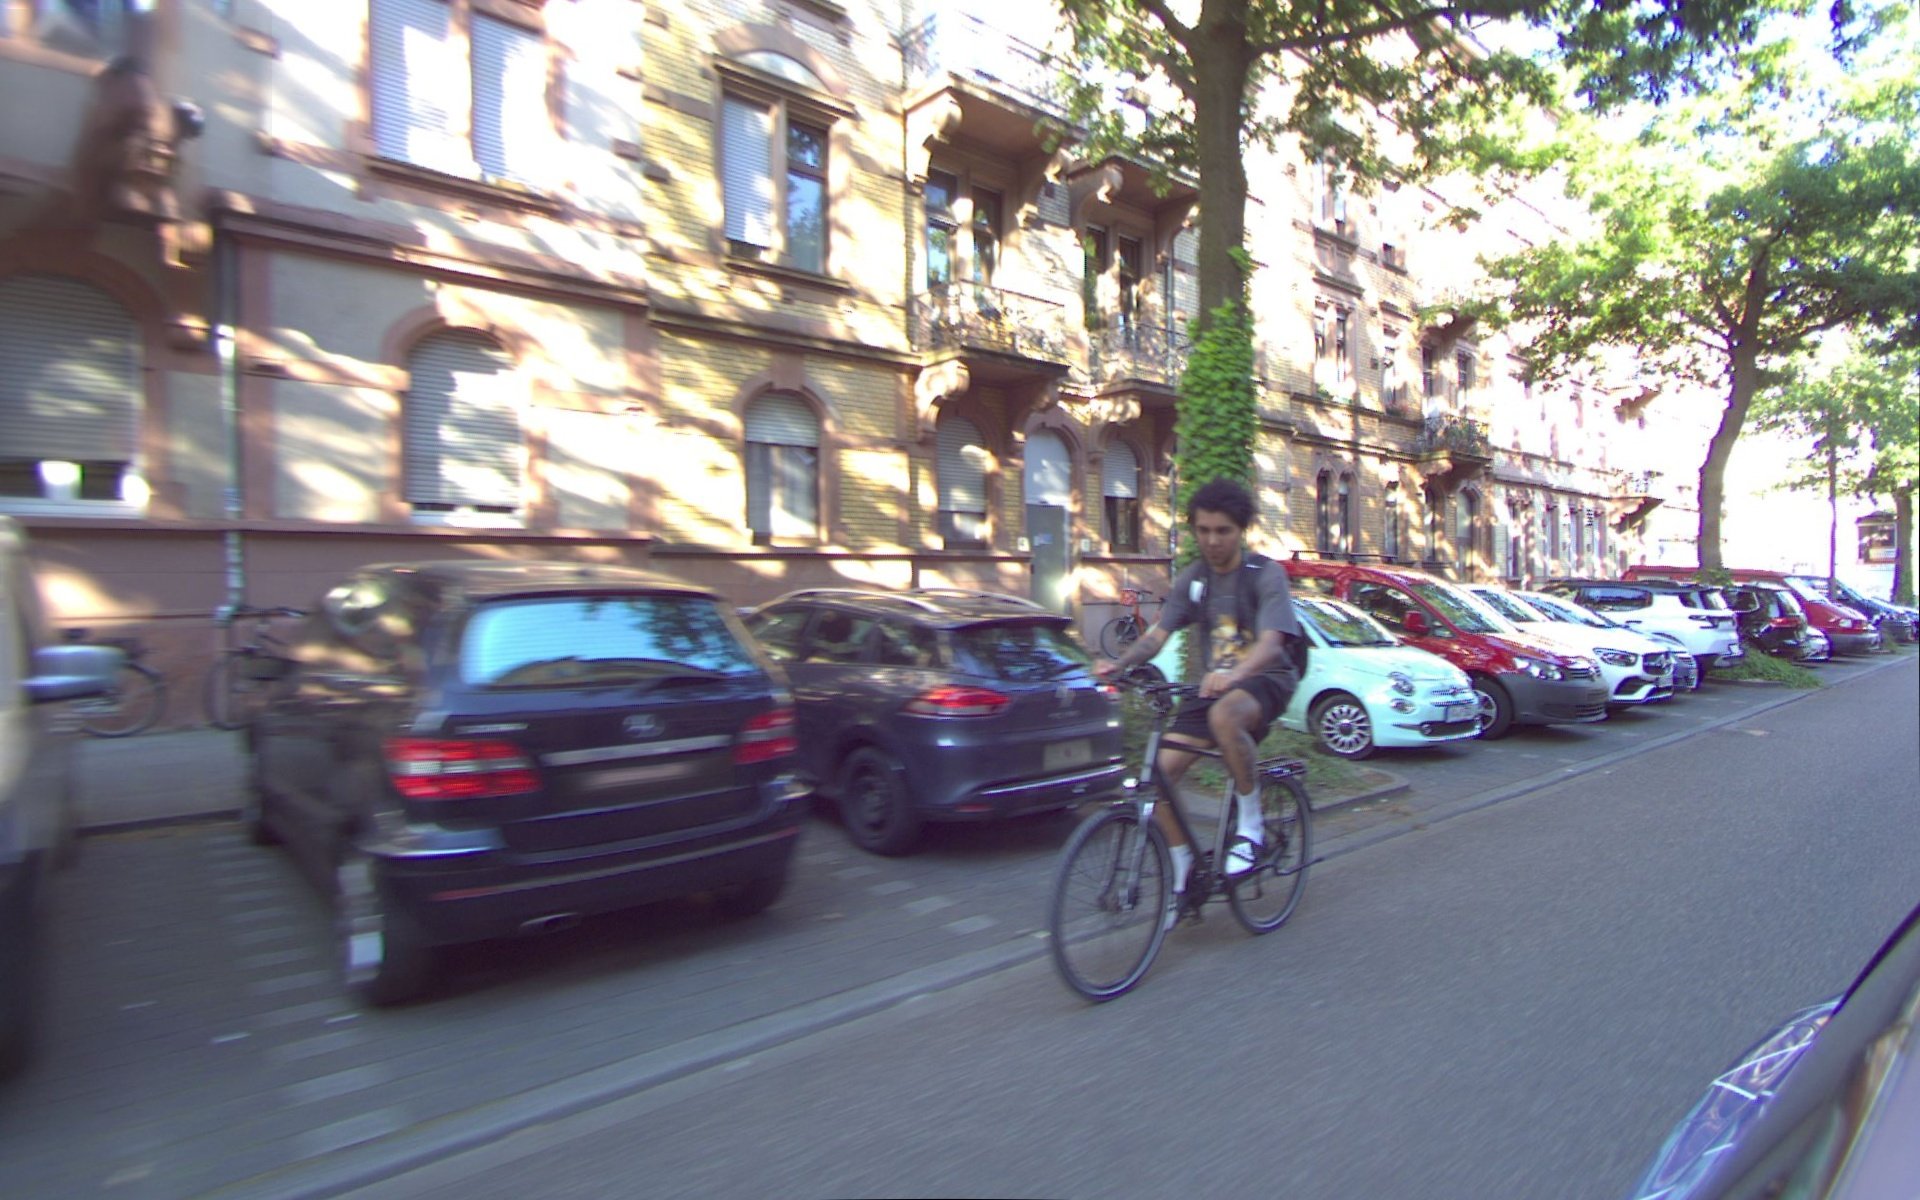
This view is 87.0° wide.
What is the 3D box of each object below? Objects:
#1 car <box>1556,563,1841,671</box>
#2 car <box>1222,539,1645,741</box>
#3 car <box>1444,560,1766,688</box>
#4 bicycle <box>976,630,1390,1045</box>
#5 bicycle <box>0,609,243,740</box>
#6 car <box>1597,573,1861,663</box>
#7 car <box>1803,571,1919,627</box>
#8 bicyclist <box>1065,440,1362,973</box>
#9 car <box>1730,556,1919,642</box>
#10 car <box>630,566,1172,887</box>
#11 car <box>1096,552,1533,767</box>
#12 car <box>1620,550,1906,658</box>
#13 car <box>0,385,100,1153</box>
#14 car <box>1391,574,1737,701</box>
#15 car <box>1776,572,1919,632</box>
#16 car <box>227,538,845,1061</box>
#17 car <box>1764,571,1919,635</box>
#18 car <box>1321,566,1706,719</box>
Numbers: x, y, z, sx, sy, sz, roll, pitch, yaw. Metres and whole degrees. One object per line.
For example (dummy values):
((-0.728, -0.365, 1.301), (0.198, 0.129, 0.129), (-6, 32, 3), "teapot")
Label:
((14.091, 0.225, 19.522), (1.749, 1.640, 4.058), (0, 5, -39), "car")
((5.274, 0.278, 11.748), (1.748, 1.909, 4.058), (0, 3, -38), "car")
((10.479, 0.271, 16.701), (1.749, 1.640, 4.058), (0, 5, -39), "car")
((0.989, 0.801, 4.179), (1.855, 1.276, 0.711), (-1, 1, -41), "bicycle")
((-7.081, 0.578, 8.248), (1.990, 0.974, 0.469), (-1, -1, -41), "bicycle")
((16.015, 0.287, 21.256), (1.749, 1.473, 4.058), (-1, 5, -40), "car")
((29.445, -0.014, 31.917), (1.749, 1.548, 4.058), (-1, 5, -40), "car")
((1.075, 0.371, 4.242), (1.101, 1.899, 0.711), (0, 0, -41), "bicyclist")
((23.669, -0.096, 27.444), (1.749, 1.956, 4.058), (0, 5, -40), "car")
((-0.645, 0.566, 6.971), (1.709, 1.478, 3.841), (0, 3, -42), "car")
((3.377, 0.406, 10.265), (1.707, 1.703, 3.845), (0, 3, -38), "car")
((18.033, -0.020, 22.947), (1.891, 2.001, 4.701), (0, 5, -40), "car")
((-4.340, 0.462, 3.665), (1.750, 1.910, 4.240), (0, -1, -39), "car")
((8.850, 0.434, 15.142), (1.748, 1.499, 4.058), (0, 3, -38), "car")
((27.487, 0.045, 30.588), (1.749, 1.548, 4.058), (-1, 5, -40), "car")
((-2.533, 0.518, 5.292), (1.709, 1.607, 4.239), (0, 3, -42), "car")
((25.955, 0.067, 29.121), (1.749, 1.548, 4.058), (-1, 5, -40), "car")
((7.075, 0.409, 13.315), (1.748, 1.599, 4.058), (0, 3, -38), "car")
